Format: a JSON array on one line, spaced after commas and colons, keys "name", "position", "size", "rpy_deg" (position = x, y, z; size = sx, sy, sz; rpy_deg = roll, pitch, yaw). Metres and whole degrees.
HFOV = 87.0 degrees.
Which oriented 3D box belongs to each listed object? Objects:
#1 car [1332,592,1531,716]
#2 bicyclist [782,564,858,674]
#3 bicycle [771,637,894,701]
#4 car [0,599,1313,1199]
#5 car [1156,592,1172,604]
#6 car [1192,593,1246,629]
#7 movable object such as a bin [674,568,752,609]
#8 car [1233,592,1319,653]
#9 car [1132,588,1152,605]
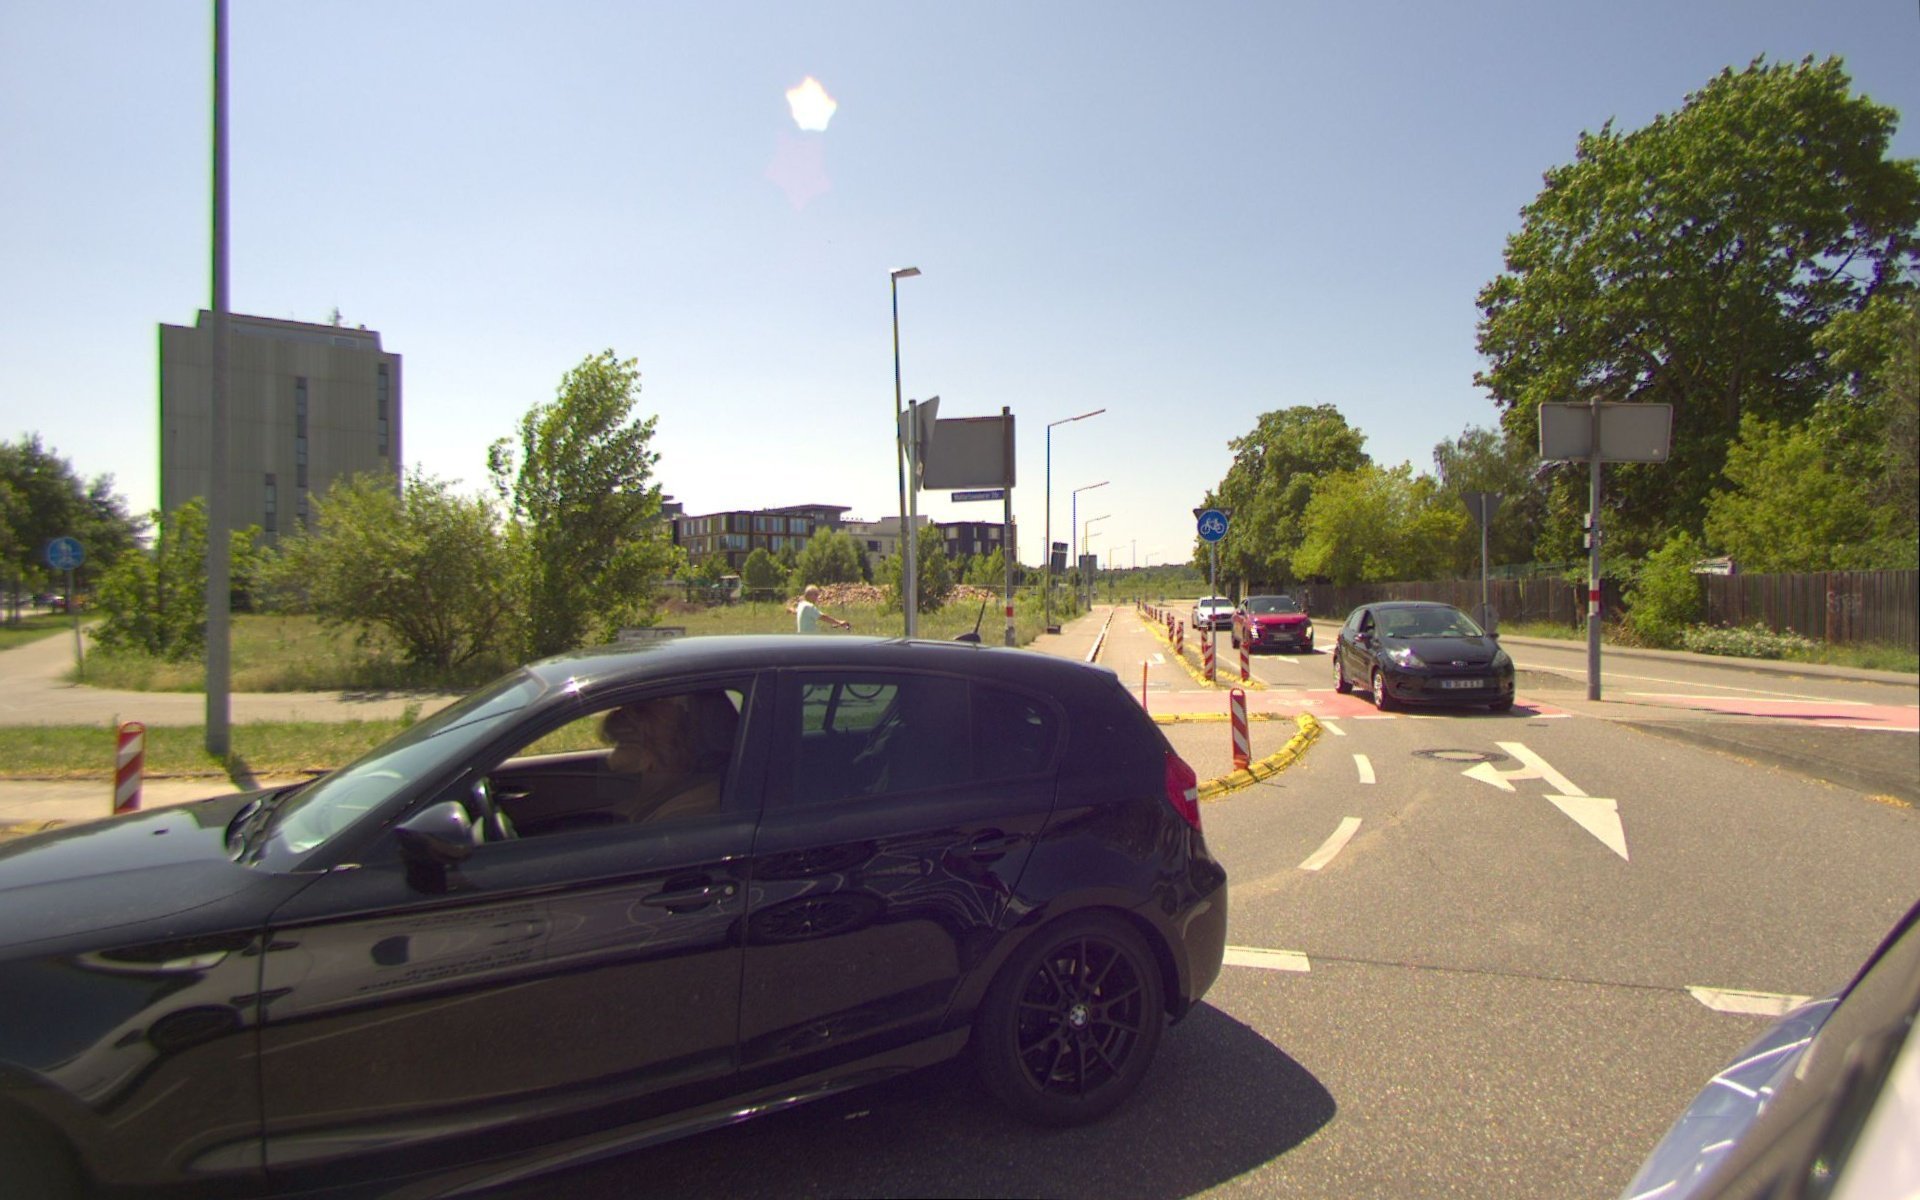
[{"name": "car", "position": [6.519, 0.652, 14.420], "size": [1.607, 1.527, 3.808], "rpy_deg": [0, 0, 10]}, {"name": "bicyclist", "position": [-2.196, 0.281, 15.805], "size": [1.139, 1.661, 0.750], "rpy_deg": [0, 0, -10]}, {"name": "bicycle", "position": [-1.994, 1.067, 15.768], "size": [1.837, 0.890, 0.630], "rpy_deg": [-1, 0, -10]}, {"name": "car", "position": [-1.102, 0.753, 3.121], "size": [3.916, 1.459, 1.806], "rpy_deg": [0, -1, -23]}, {"name": "car", "position": [26.482, -0.250, 131.219], "size": [1.730, 1.564, 3.687], "rpy_deg": [0, 0, 7]}, {"name": "car", "position": [11.231, 0.450, 44.092], "size": [1.833, 1.446, 3.990], "rpy_deg": [-2, 0, 9]}, {"name": "movable object such as a bin", "position": [-20.357, -0.998, 83.884], "size": [2.776, 3.188, 7.566], "rpy_deg": [-2, 1, 17]}, {"name": "car", "position": [8.608, 0.552, 27.906], "size": [1.693, 1.547, 4.200], "rpy_deg": [0, 0, 10]}, {"name": "car", "position": [17.482, -0.341, 97.261], "size": [1.730, 1.564, 3.687], "rpy_deg": [0, 0, 7]}]
